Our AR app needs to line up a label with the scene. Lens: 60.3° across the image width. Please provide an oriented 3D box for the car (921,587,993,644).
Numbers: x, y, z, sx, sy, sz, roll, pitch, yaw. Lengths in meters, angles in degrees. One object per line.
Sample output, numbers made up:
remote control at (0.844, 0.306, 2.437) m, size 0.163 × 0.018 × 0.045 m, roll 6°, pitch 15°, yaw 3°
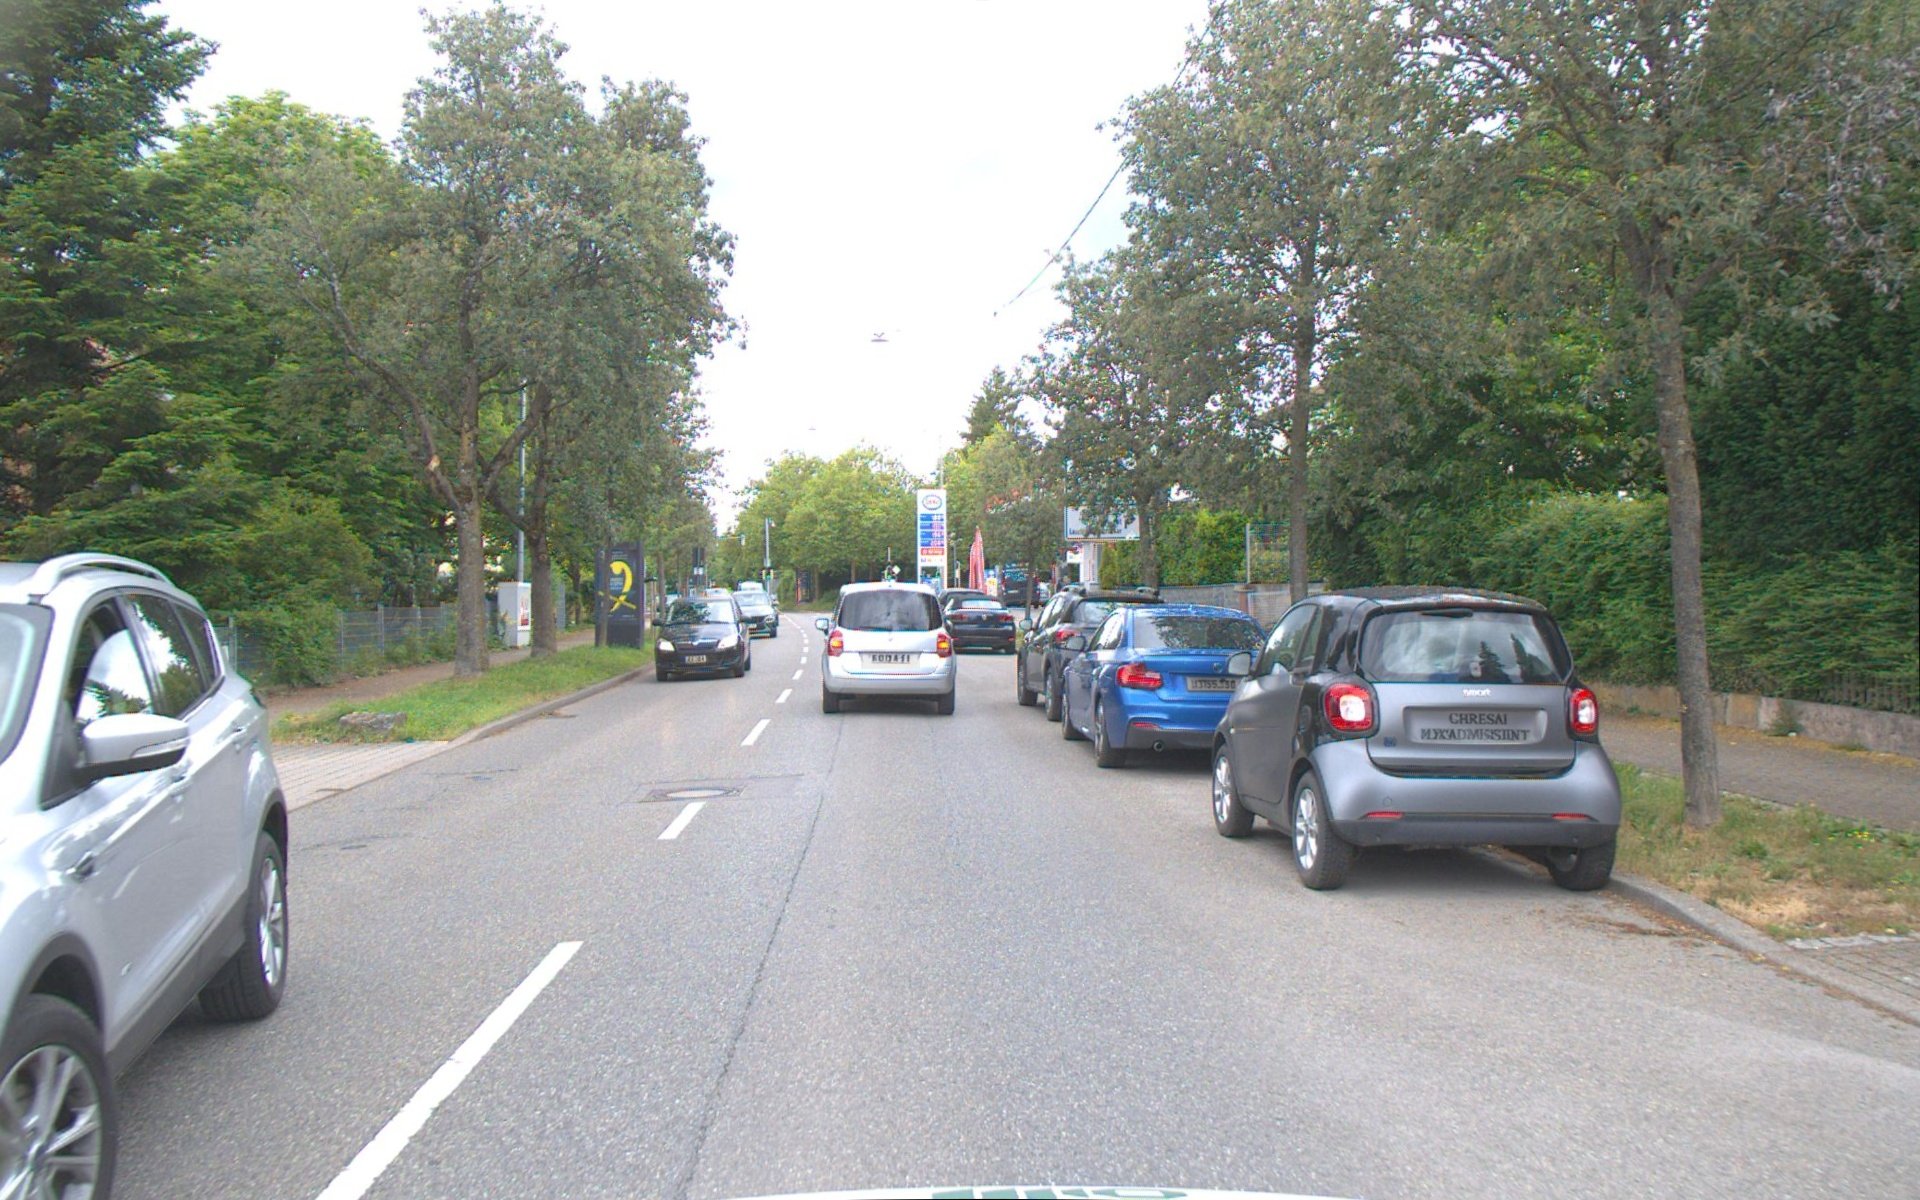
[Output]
car at (-0.130, 0.401, 46.754) m, size 1.662 × 1.532 × 3.640 m, roll -1°, pitch 1°, yaw -6°

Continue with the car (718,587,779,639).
car at (-7.033, 0.398, 55.170) m, size 1.759 × 1.582 × 3.668 m, roll -3°, pitch 1°, yaw -5°

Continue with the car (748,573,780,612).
car at (-12.579, -0.476, 106.241) m, size 1.897 × 2.450 × 3.996 m, roll -1°, pitch 0°, yaw -5°

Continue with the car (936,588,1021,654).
car at (0.411, 0.486, 41.394) m, size 1.662 × 1.532 × 3.967 m, roll -1°, pitch 1°, yaw -6°

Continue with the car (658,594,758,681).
car at (-4.709, 0.660, 31.344) m, size 1.514 × 1.496 × 3.739 m, roll -2°, pitch 0°, yaw -4°

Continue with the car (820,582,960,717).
car at (-0.902, 0.564, 21.215) m, size 1.646 × 1.587 × 3.510 m, roll 0°, pitch 1°, yaw -3°

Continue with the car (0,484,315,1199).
car at (-2.958, 0.689, 4.508) m, size 1.713 × 1.735 × 4.084 m, roll -2°, pitch 1°, yaw -15°

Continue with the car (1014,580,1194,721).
car at (1.731, 0.571, 21.055) m, size 1.662 × 1.598 × 3.952 m, roll -1°, pitch 0°, yaw -4°

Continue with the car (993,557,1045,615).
car at (3.051, -0.734, 86.757) m, size 2.236 × 2.962 × 5.275 m, roll 1°, pitch 0°, yaw -3°

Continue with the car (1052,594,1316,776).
car at (1.958, 0.689, 15.693) m, size 1.663 × 1.458 × 4.337 m, roll 1°, pitch 0°, yaw -4°

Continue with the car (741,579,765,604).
car at (-17.249, -0.709, 137.746) m, size 1.706 × 2.049 × 3.997 m, roll -1°, pitch 0°, yaw -3°

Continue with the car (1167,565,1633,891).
car at (2.453, 0.646, 10.237) m, size 1.661 × 1.585 × 3.953 m, roll 2°, pitch 0°, yaw -2°
